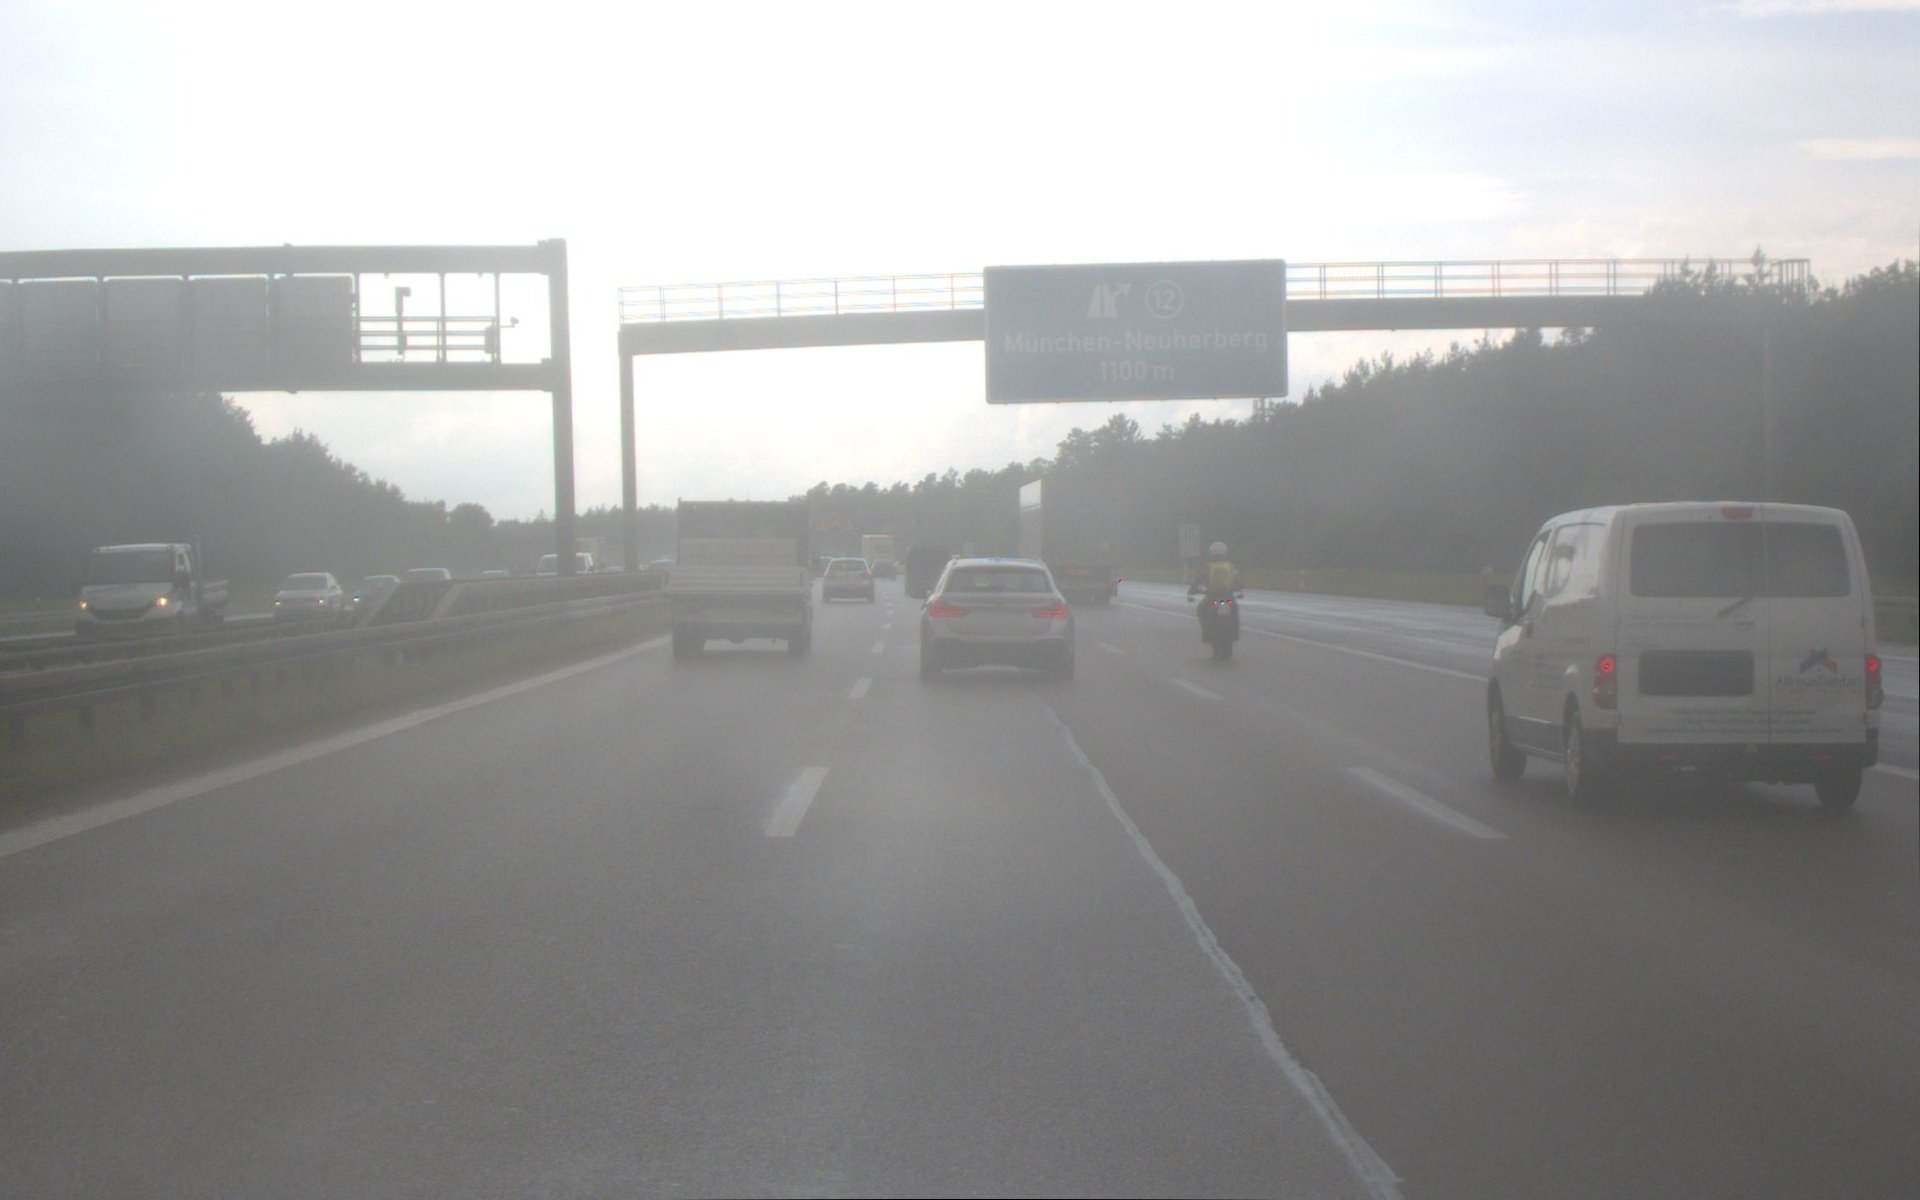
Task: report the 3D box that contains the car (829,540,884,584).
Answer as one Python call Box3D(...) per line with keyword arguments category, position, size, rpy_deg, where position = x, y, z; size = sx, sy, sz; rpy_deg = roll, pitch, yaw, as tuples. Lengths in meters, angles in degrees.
Box3D(category="car", position=(-3.487, -1.277, 116.600), size=(1.831, 1.461, 4.000), rpy_deg=(0, 0, -1))

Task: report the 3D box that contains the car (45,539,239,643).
Box3D(category="car", position=(-16.937, -0.231, 71.578), size=(2.283, 2.007, 6.739), rpy_deg=(1, 1, 1))

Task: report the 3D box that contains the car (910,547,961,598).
Box3D(category="car", position=(-1.001, -1.107, 137.909), size=(1.908, 2.007, 4.000), rpy_deg=(0, 1, -2))

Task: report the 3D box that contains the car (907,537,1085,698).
Box3D(category="car", position=(0.479, 0.158, 42.689), size=(2.078, 1.878, 5.011), rpy_deg=(0, 1, 1))

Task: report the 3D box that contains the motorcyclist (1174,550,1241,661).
Box3D(category="motorcyclist", position=(3.639, 0.074, 50.639), size=(0.891, 1.609, 0.959), rpy_deg=(0, 0, -1))

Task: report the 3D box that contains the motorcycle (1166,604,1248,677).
Box3D(category="motorcycle", position=(3.628, 0.584, 50.672), size=(1.000, 1.028, 2.174), rpy_deg=(0, 1, -1))

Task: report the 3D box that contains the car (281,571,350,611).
Box3D(category="car", position=(-20.808, -0.314, 111.116), size=(1.625, 1.253, 3.842), rpy_deg=(0, 1, -2))

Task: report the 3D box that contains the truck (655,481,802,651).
Box3D(category="truck", position=(-3.517, -0.522, 52.716), size=(2.137, 2.480, 5.313), rpy_deg=(0, 1, -3))

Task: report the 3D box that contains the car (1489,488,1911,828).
Box3D(category="car", position=(4.548, 0.296, 21.849), size=(1.964, 1.895, 4.881), rpy_deg=(1, 1, 5))

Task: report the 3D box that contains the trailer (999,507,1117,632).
Box3D(category="trailer", position=(3.213, -1.012, 116.437), size=(2.323, 3.988, 13.414), rpy_deg=(0, 0, -6))
